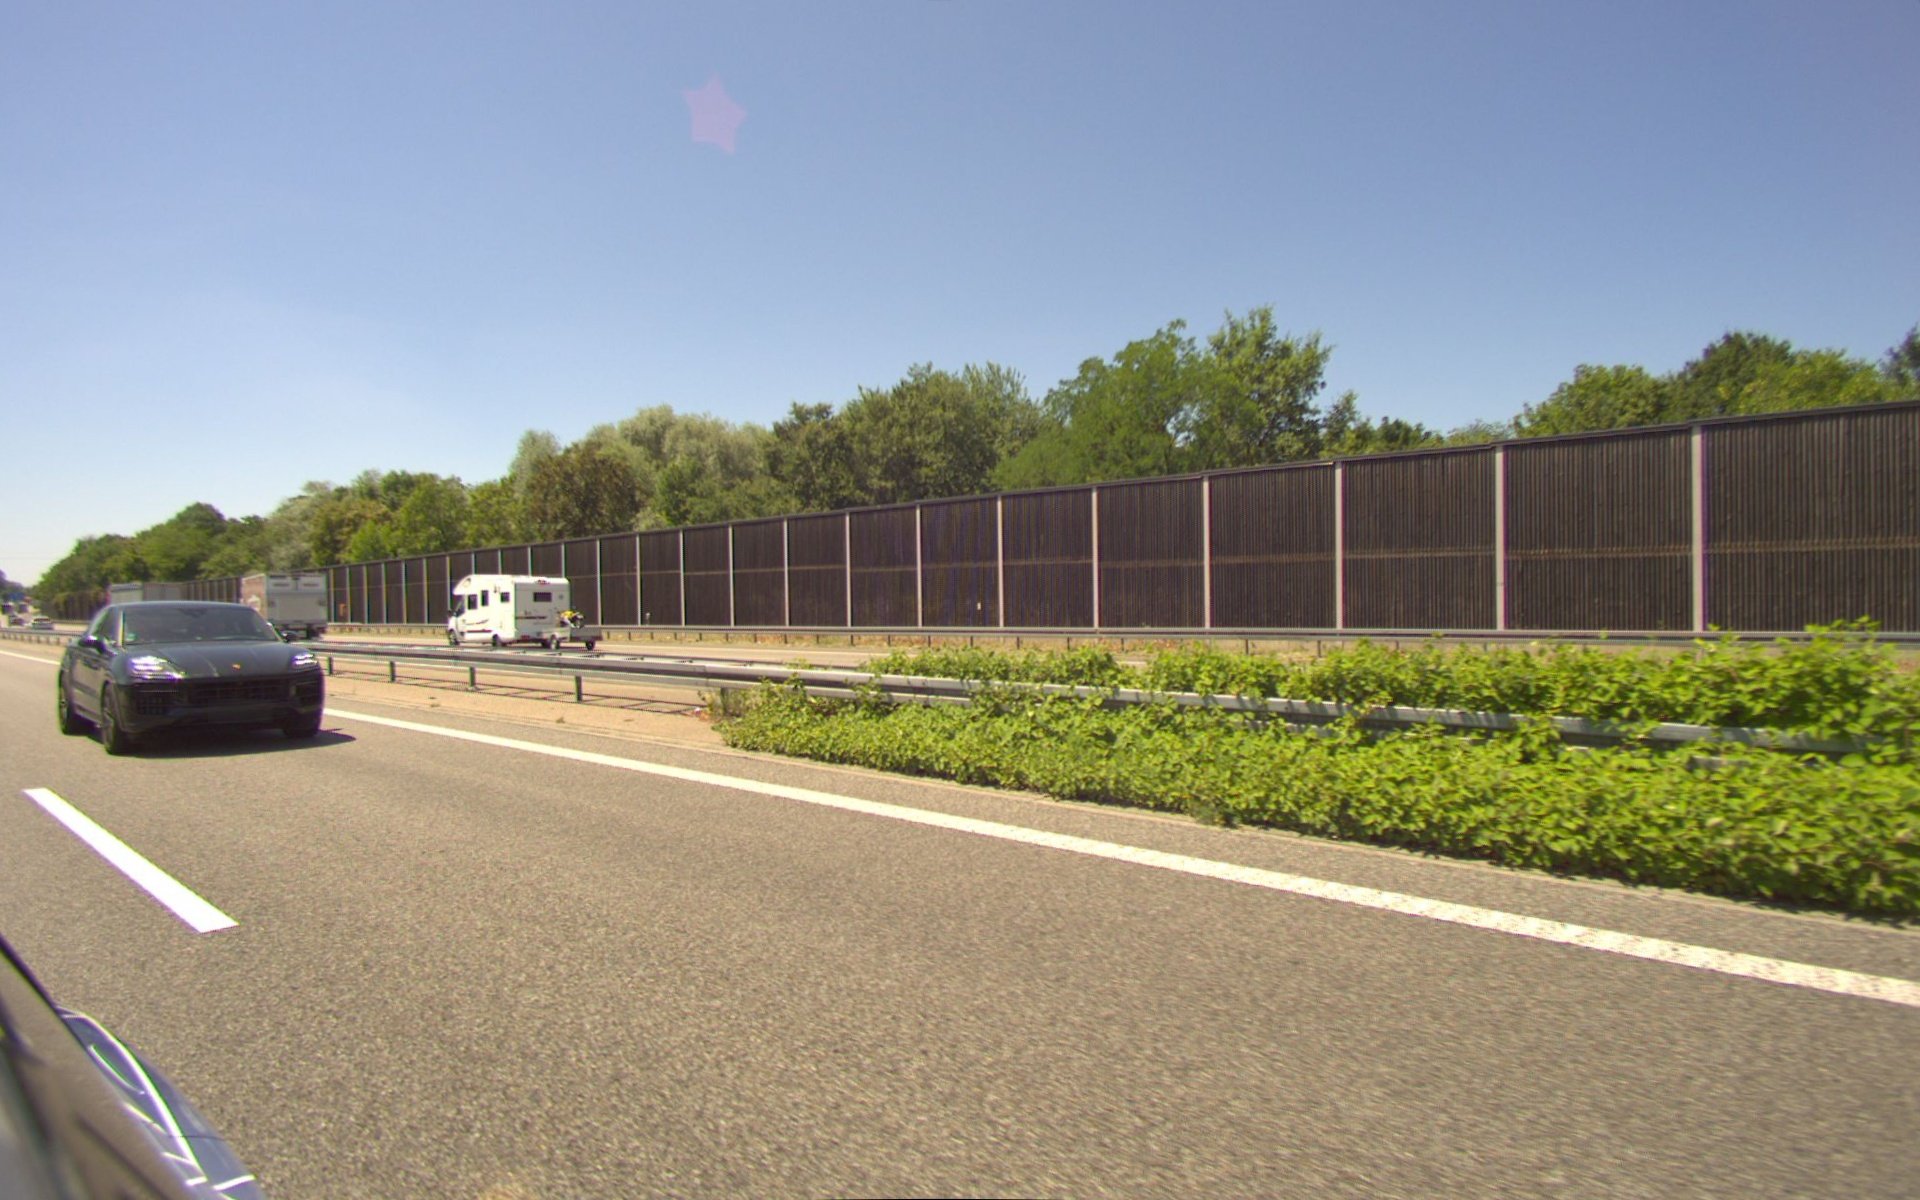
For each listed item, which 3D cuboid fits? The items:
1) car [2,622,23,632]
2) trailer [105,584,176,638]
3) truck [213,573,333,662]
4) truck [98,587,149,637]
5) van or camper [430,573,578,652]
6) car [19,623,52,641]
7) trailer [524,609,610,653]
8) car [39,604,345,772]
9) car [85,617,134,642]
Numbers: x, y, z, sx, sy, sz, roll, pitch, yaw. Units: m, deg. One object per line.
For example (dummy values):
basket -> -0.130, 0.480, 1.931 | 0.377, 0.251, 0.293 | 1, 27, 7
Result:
car -> -154.524, 4.459, 165.001 | 5.982, 1.534, 2.101 | -1, -1, 43
trailer -> -66.292, 0.939, 81.716 | 14.206, 4.107, 2.316 | -1, -1, 42
truck -> -28.276, 0.728, 41.526 | 6.915, 3.378, 2.385 | -1, -1, 41
truck -> -71.537, 1.053, 86.496 | 7.151, 4.107, 2.333 | -1, -1, 42
van or camper -> -18.637, 0.569, 41.144 | 7.370, 2.936, 2.531 | -1, -3, 41
car -> -83.051, 2.844, 90.859 | 4.245, 1.555, 1.786 | -1, -1, 42
trailer -> -14.660, 1.152, 37.693 | 3.090, 1.591, 1.709 | -1, -3, 40
car -> -9.741, 0.908, 12.601 | 5.770, 1.637, 2.022 | -1, -1, 42
car -> -56.651, 1.951, 67.366 | 4.581, 1.558, 1.898 | -1, -1, 42
